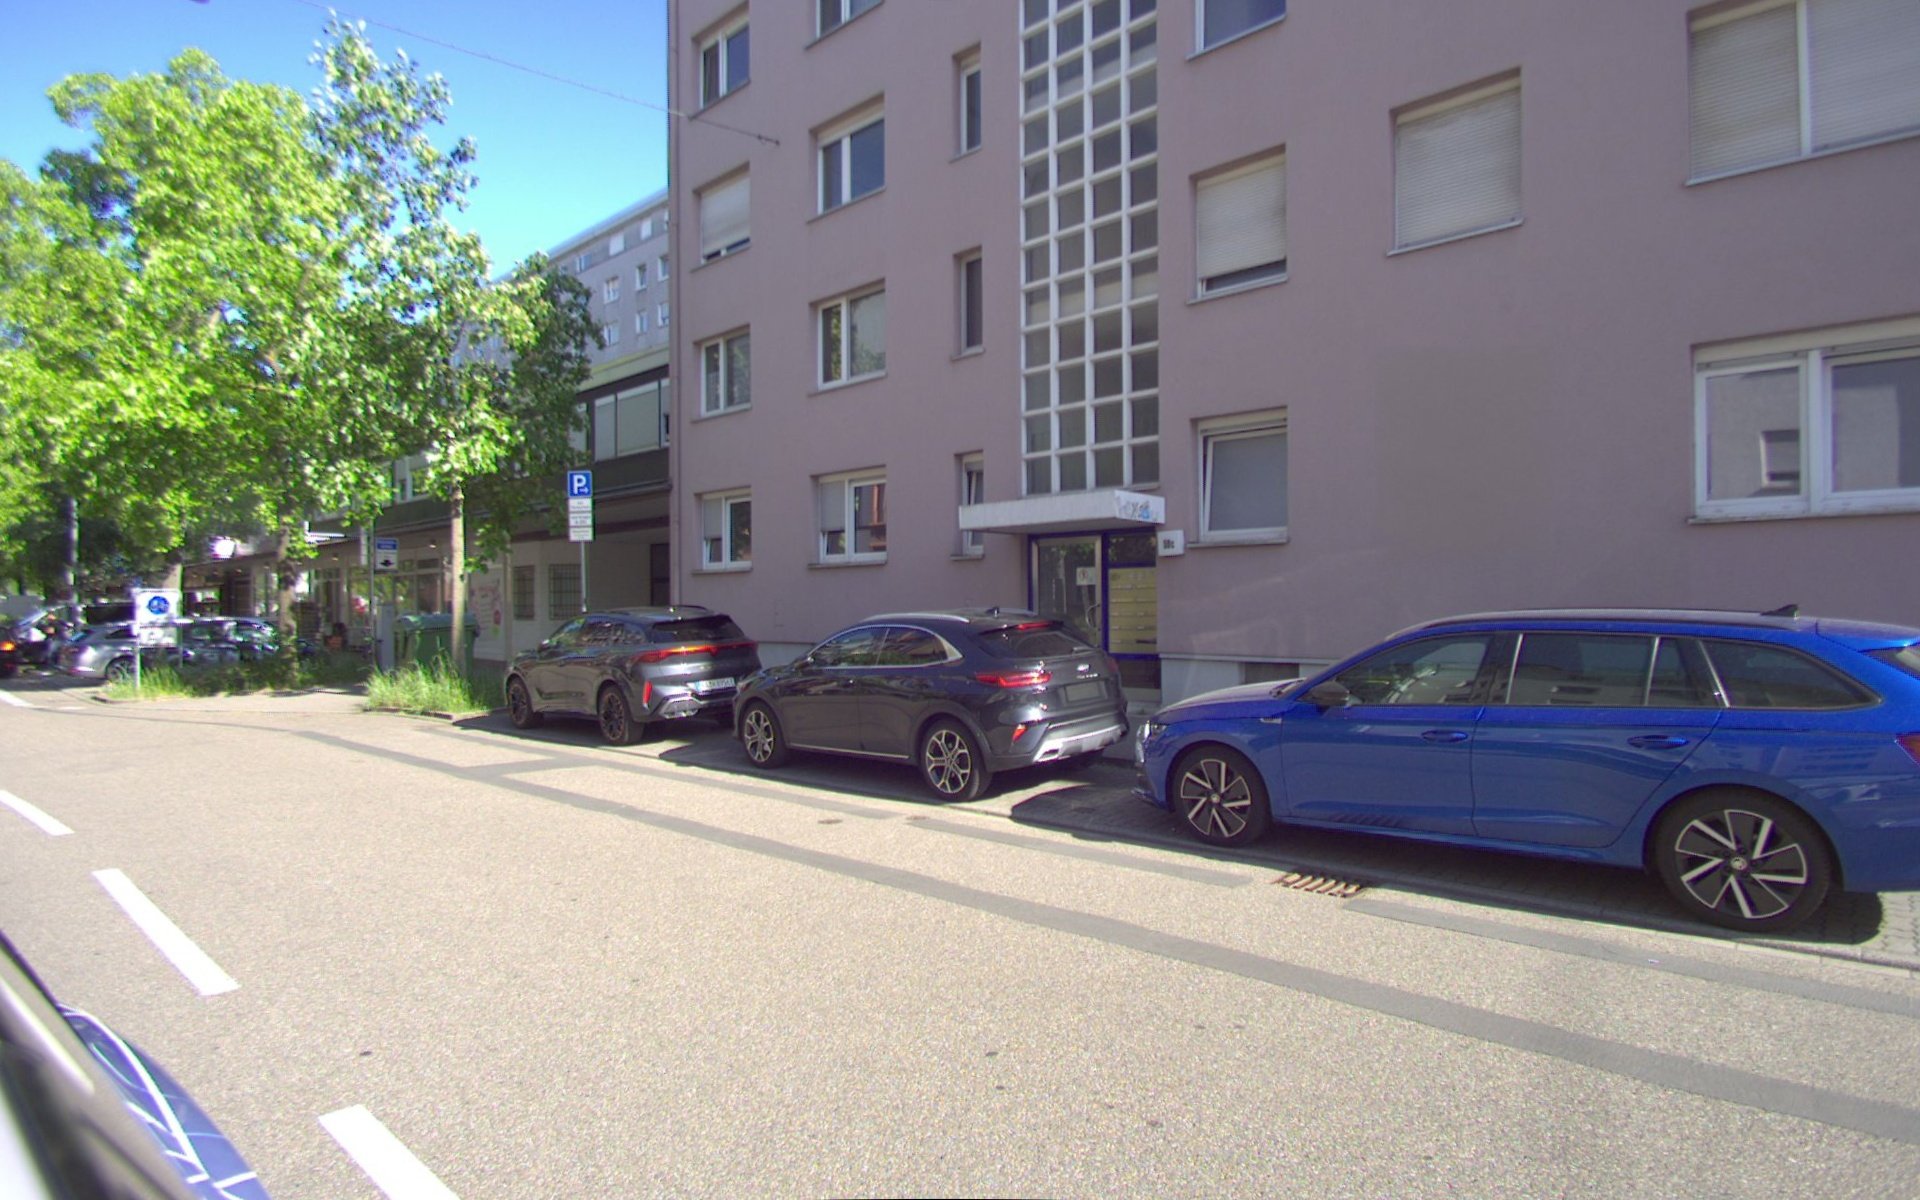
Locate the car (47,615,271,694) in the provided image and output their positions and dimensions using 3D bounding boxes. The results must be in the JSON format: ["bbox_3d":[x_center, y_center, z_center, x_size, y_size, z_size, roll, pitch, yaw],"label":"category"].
[{"bbox_3d":[-19.087,1.231,24.231,2.000,1.687,3.944,-1,-1,42],"label":"car"}]

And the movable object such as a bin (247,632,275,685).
[{"bbox_3d":[-16.605,1.383,24.039,0.409,1.234,0.482,-1,-1,42],"label":"movable object such as a bin"}]

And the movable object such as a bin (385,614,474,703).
[{"bbox_3d":[-9.788,1.051,18.664,1.229,1.557,1.020,0,-1,-43],"label":"movable object such as a bin"}]

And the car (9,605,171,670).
[{"bbox_3d":[-29.226,1.195,34.076,2.000,2.047,3.944,-1,-1,42],"label":"car"}]

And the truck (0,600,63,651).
[{"bbox_3d":[-49.629,1.319,51.790,1.993,2.615,5.264,-1,-1,32],"label":"truck"}]

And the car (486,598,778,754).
[{"bbox_3d":[-4.362,0.869,13.122,4.142,1.604,1.797,-1,2,44],"label":"car"}]

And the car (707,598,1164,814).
[{"bbox_3d":[-0.413,0.807,9.510,4.246,1.519,1.797,-1,1,44],"label":"car"}]

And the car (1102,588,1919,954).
[{"bbox_3d":[3.263,0.740,6.005,4.611,1.476,1.699,-1,1,42],"label":"car"}]

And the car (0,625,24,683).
[{"bbox_3d":[-26.250,1.419,26.877,4.001,1.475,1.842,-2,-1,44],"label":"car"}]
